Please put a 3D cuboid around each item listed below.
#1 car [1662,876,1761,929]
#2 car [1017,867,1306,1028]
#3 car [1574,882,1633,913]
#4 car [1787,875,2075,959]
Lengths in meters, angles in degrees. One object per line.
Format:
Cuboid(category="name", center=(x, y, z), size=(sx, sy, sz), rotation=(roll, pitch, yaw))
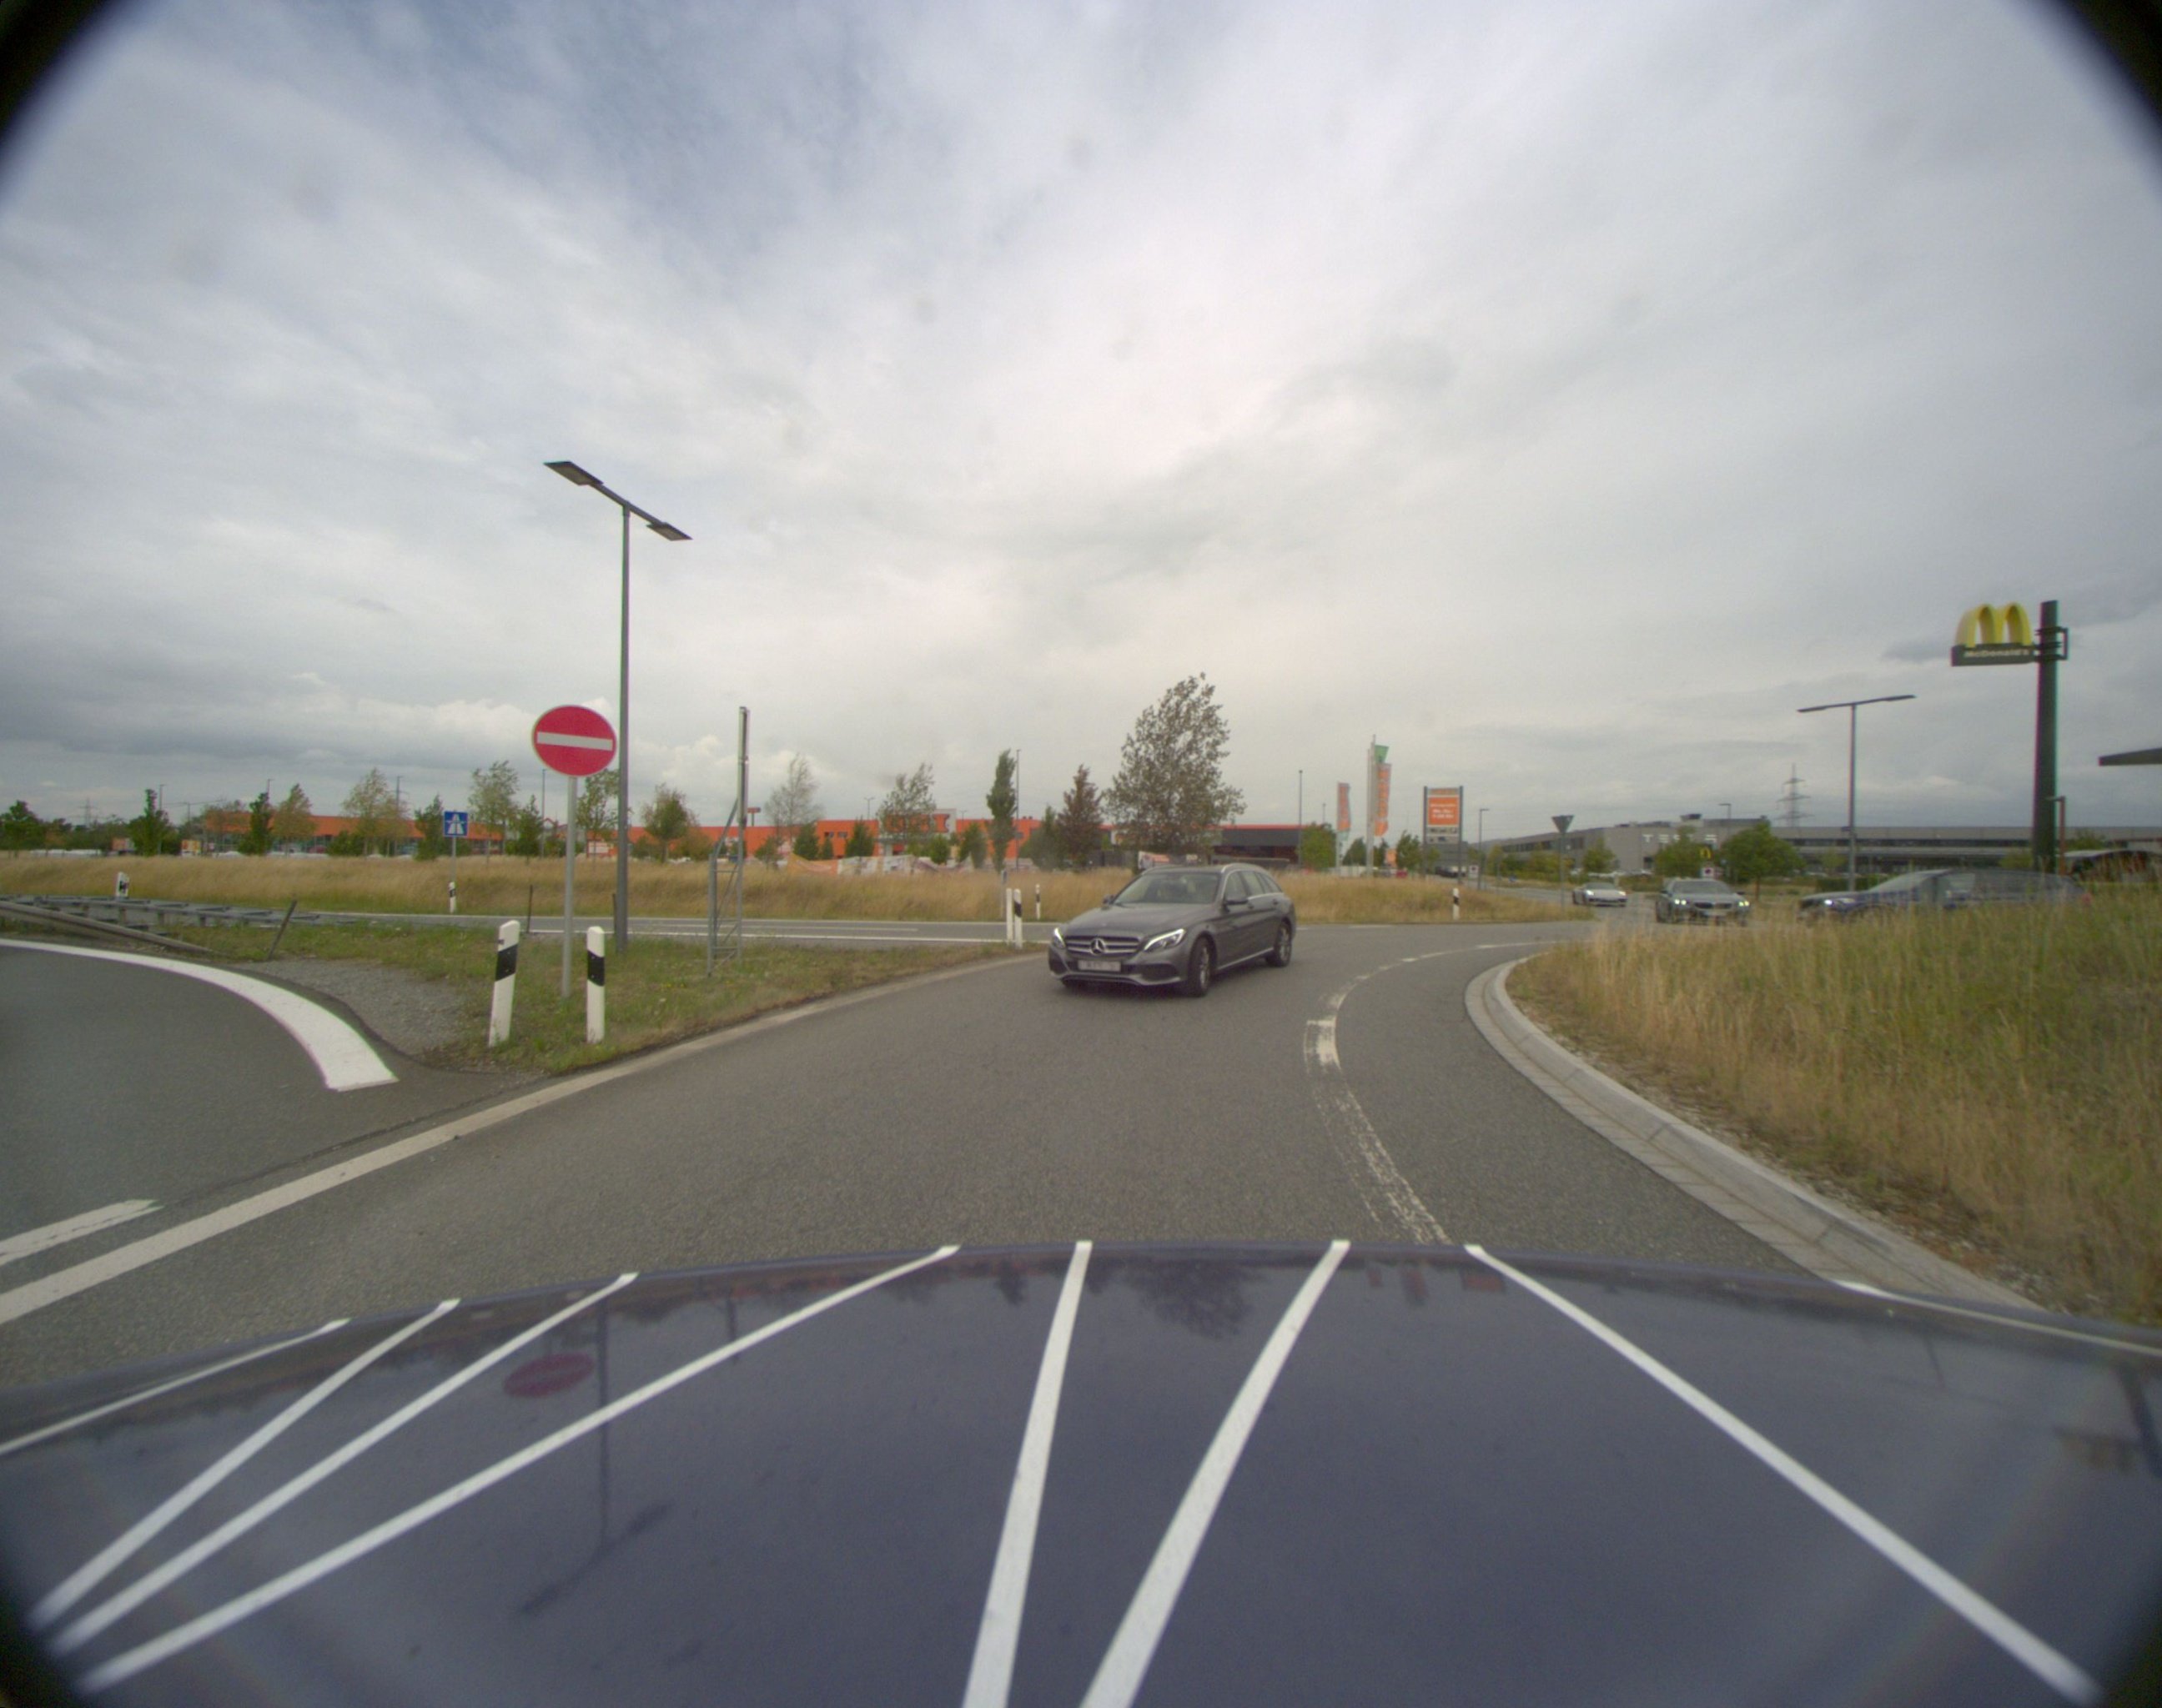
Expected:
Cuboid(category="car", center=(20.234, 1.496, 24.562), size=(1.993, 1.495, 4.316), rotation=(-1, -1, 33))
Cuboid(category="car", center=(1.282, 0.957, 9.785), size=(1.902, 1.488, 4.348), rotation=(0, 0, 33))
Cuboid(category="car", center=(28.131, 2.320, 41.054), size=(1.824, 1.390, 4.742), rotation=(0, 0, 24))
Cuboid(category="car", center=(19.223, 1.417, 17.499), size=(3.990, 1.709, 1.847), rotation=(-3, -2, 31))
